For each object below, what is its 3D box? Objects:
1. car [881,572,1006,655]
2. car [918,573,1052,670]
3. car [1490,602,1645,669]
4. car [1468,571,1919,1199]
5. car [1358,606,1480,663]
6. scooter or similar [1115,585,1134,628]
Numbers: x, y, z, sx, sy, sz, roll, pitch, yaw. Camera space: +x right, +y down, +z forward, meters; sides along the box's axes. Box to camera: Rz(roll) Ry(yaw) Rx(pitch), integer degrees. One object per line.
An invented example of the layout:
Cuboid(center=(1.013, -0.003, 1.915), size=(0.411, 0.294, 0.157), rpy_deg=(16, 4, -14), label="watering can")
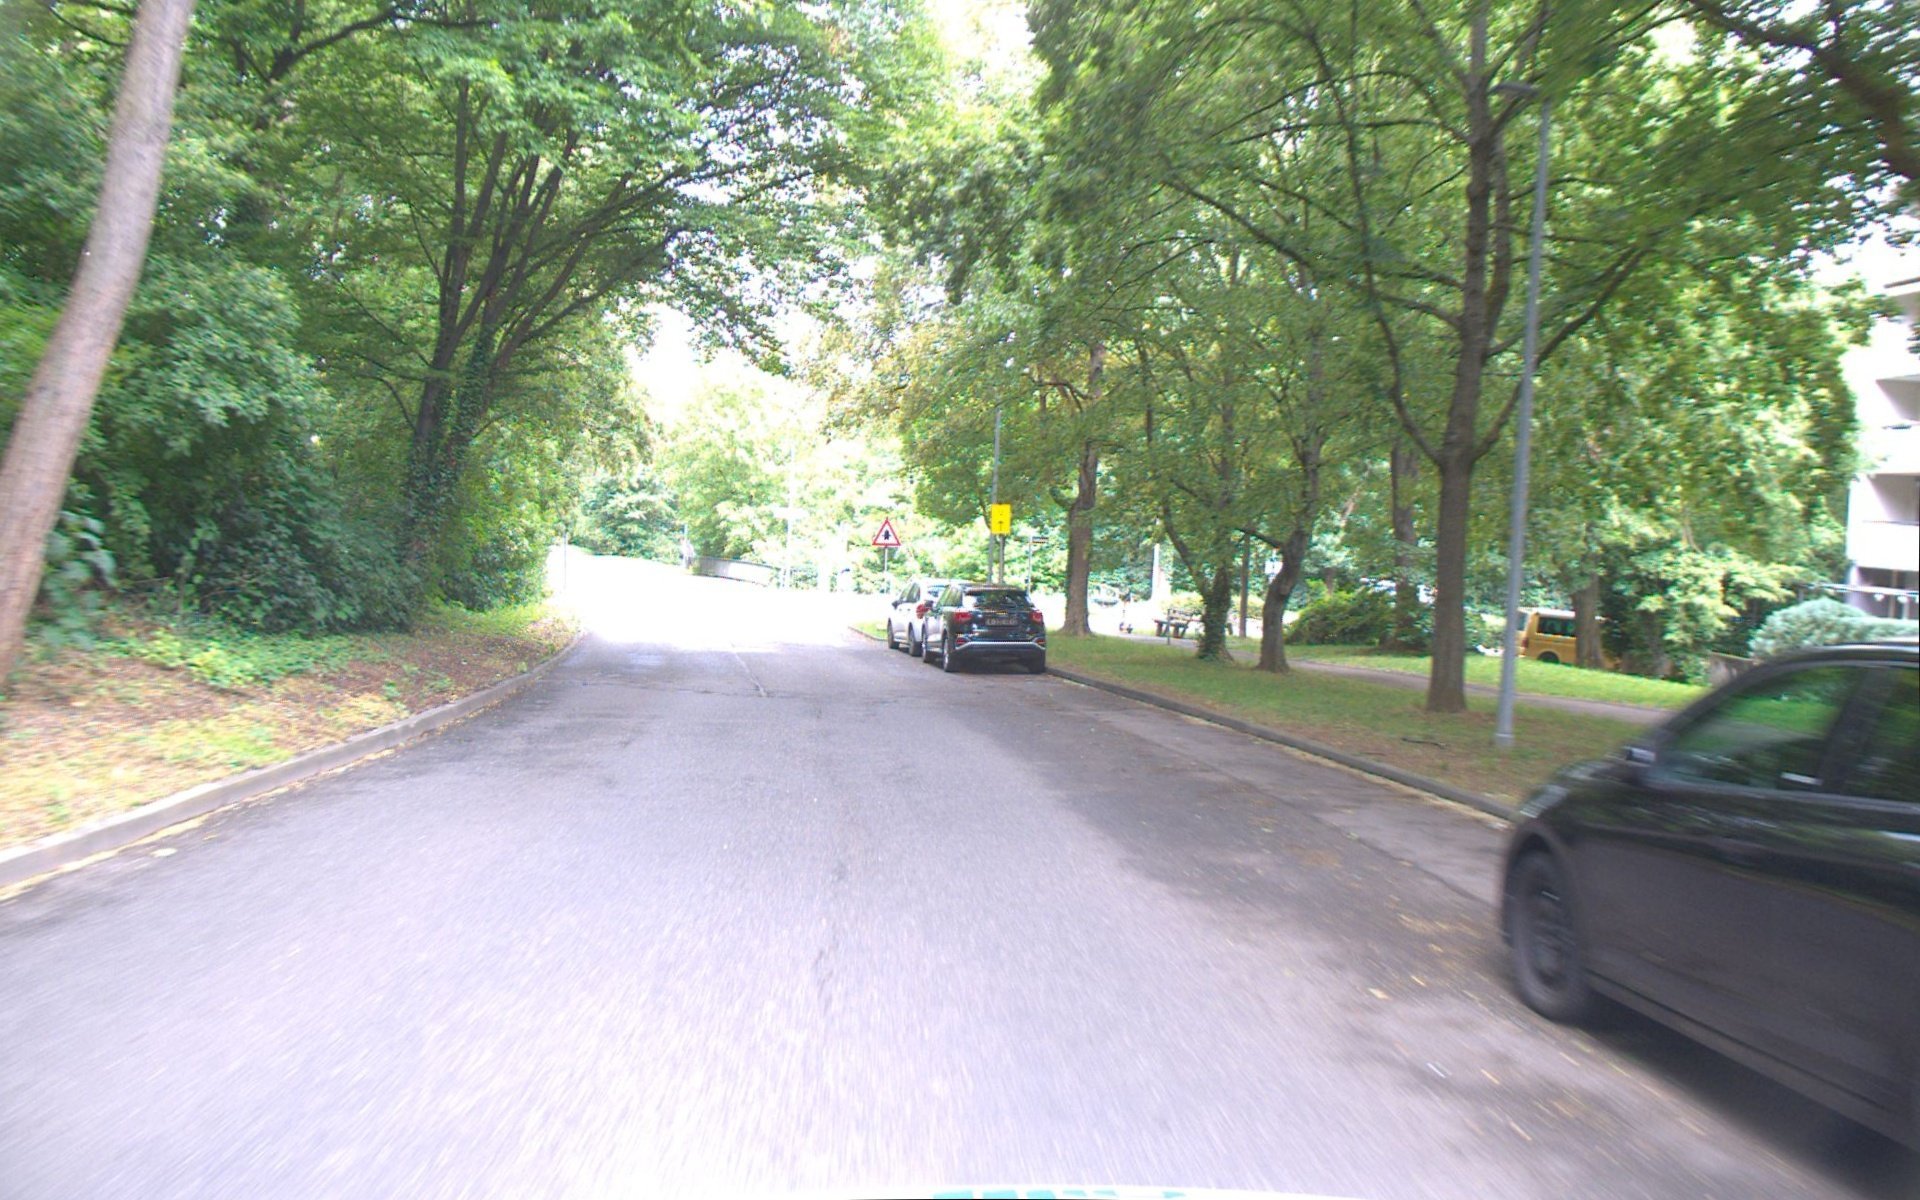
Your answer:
Cuboid(center=(-0.409, 0.238, 34.333), size=(1.744, 1.549, 3.768), rpy_deg=(2, 1, -14), label="car")
Cuboid(center=(0.373, 0.340, 29.995), size=(1.741, 1.549, 4.175), rpy_deg=(2, 1, -8), label="car")
Cuboid(center=(19.714, 1.138, 53.807), size=(4.306, 1.880, 1.832), rpy_deg=(3, 1, 0), label="car")
Cuboid(center=(3.008, 0.666, 4.782), size=(1.649, 1.490, 3.895), rpy_deg=(0, 1, -4), label="car")
Cuboid(center=(14.895, 1.100, 53.838), size=(3.444, 1.597, 1.833), rpy_deg=(3, 1, 2), label="car")
Cuboid(center=(5.159, 0.186, 51.859), size=(0.277, 1.309, 1.106), rpy_deg=(2, 1, -8), label="scooter or similar")
